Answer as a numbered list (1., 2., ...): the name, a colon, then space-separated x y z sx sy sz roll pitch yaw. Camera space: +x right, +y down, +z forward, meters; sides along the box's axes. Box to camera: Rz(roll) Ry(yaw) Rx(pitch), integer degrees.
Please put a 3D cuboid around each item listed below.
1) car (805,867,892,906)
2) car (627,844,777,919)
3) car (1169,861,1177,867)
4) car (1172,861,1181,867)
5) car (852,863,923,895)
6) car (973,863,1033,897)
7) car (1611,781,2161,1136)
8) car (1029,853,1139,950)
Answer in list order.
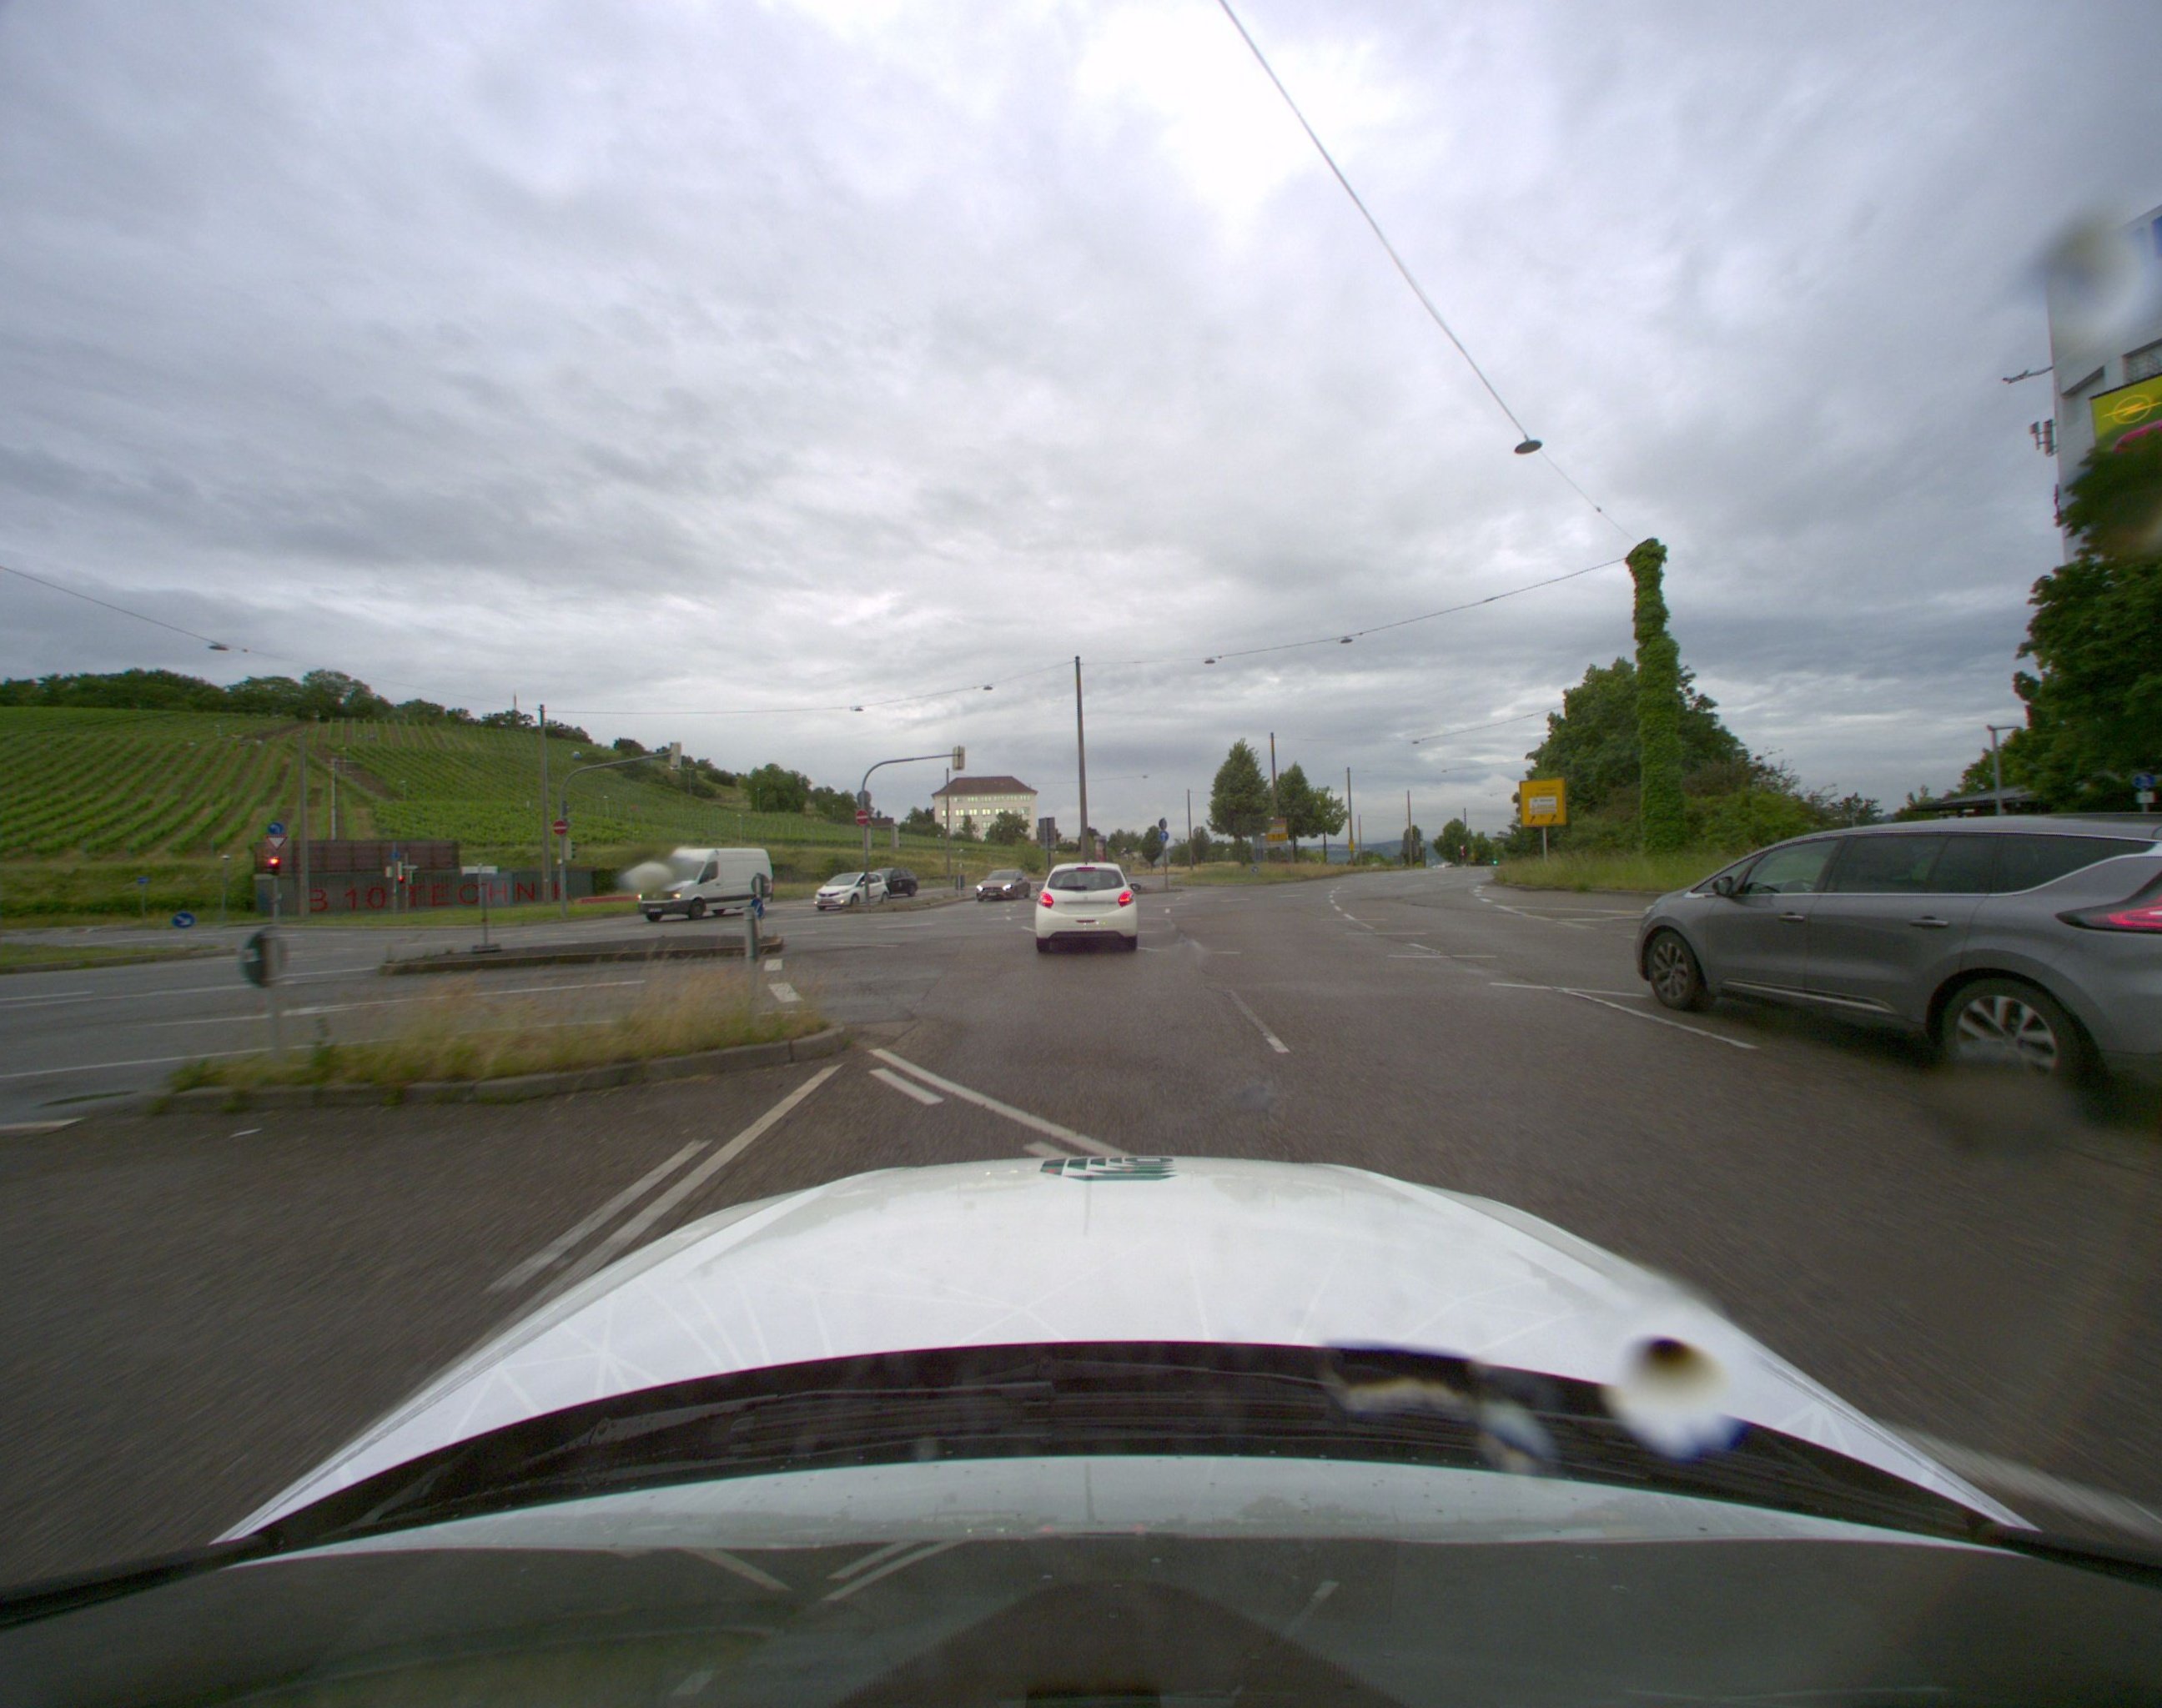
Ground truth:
1. car: -9.889 1.340 34.949 1.738 1.513 4.016 -1 -1 15
2. car: -14.211 0.972 31.107 1.981 2.559 6.187 -1 -1 10
3. car: 24.838 2.616 220.646 1.834 1.486 4.001 -2 0 1
4. car: 24.912 2.543 212.239 1.834 1.486 4.001 -2 0 1
5. car: -10.498 1.328 44.591 1.762 1.636 4.527 -1 -1 16
6. car: -3.615 1.209 38.518 1.765 1.425 4.384 -3 -1 9
7. car: 6.153 0.489 5.884 1.857 1.674 4.569 -2 -1 4
8. car: 0.178 0.773 14.896 1.710 1.489 4.004 -2 -1 4
